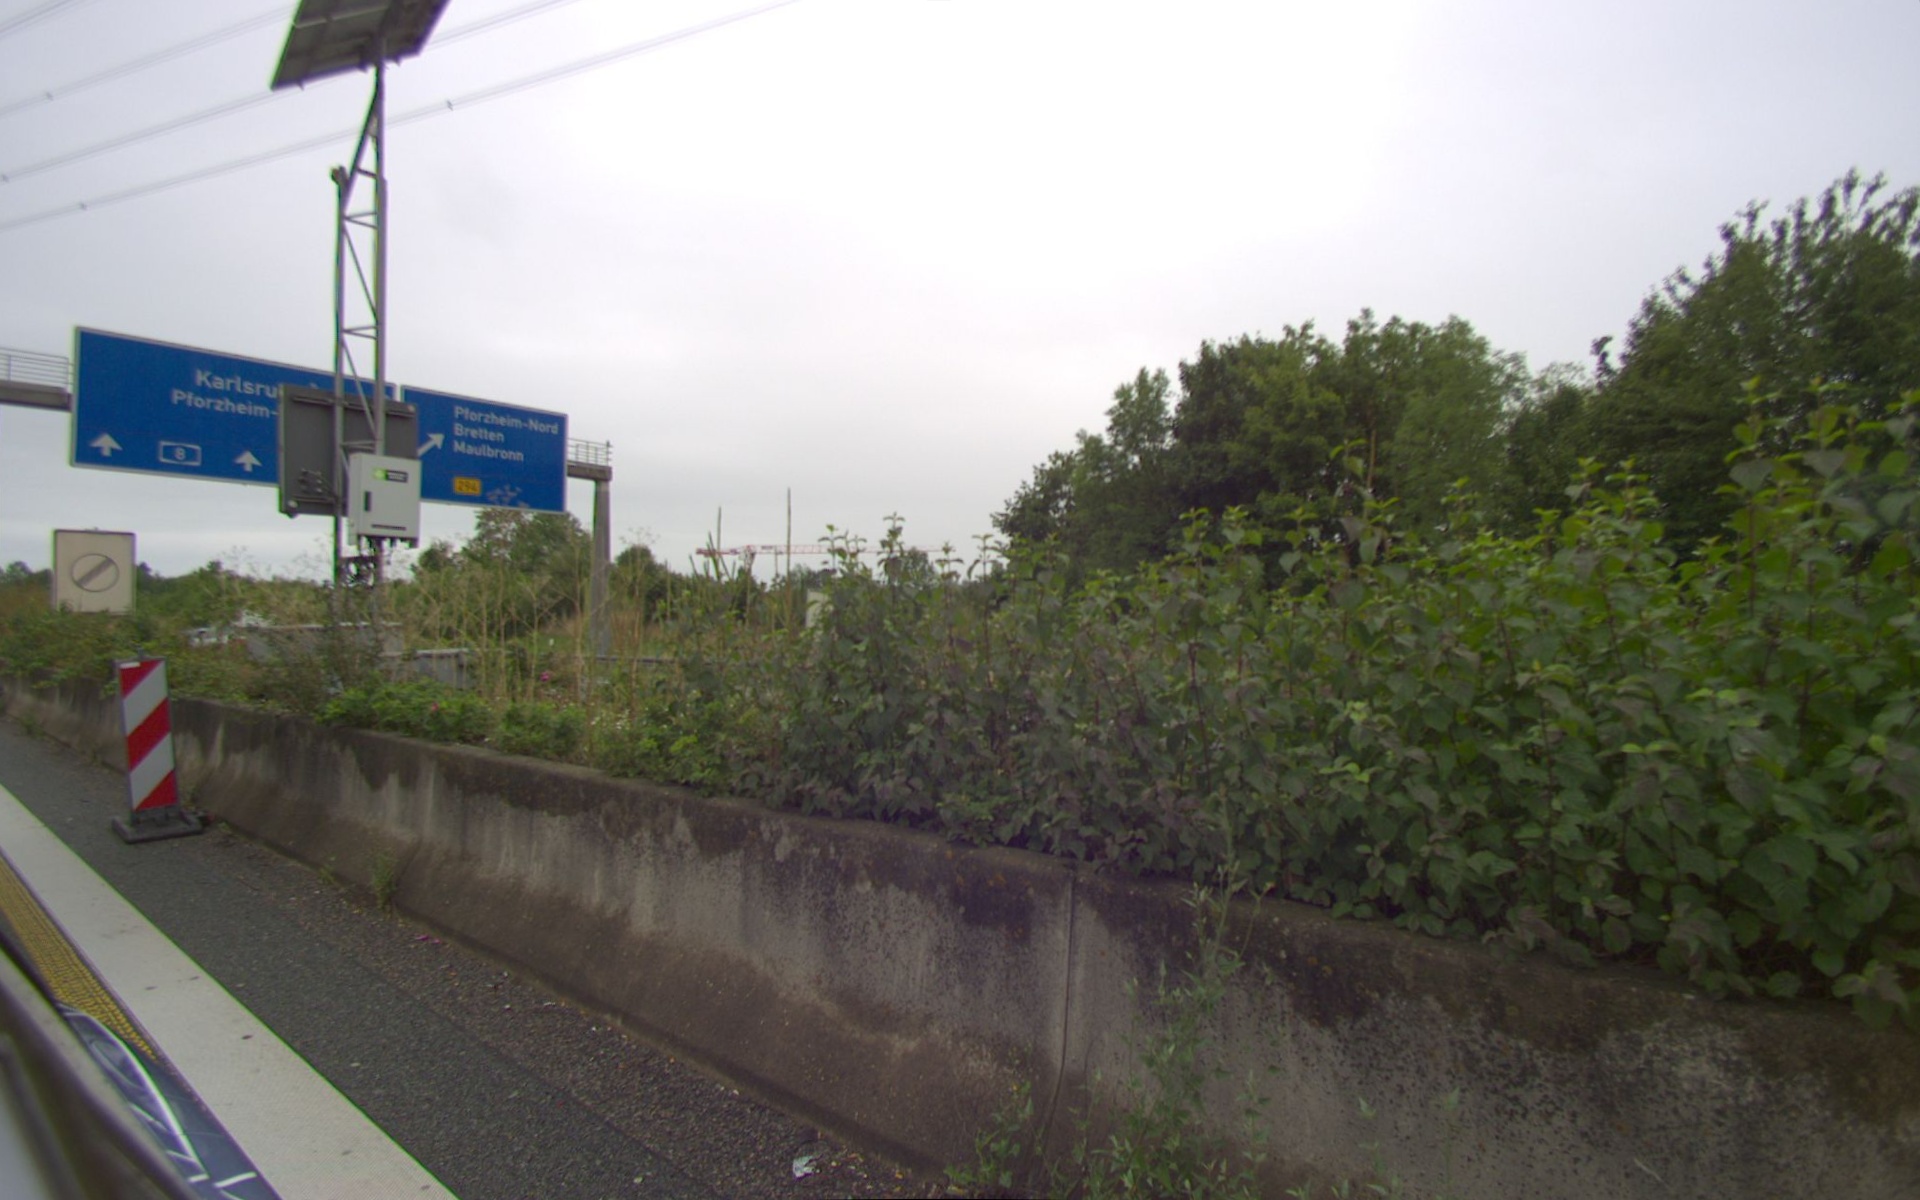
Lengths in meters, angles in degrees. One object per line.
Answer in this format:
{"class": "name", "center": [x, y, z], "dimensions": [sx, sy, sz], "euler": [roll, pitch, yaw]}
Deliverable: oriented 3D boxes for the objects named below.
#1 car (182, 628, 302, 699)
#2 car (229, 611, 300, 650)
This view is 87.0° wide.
{"class": "car", "center": [-21.191, 1.797, 29.826], "dimensions": [3.998, 1.945, 1.973], "euler": [-2, -3, 41]}
{"class": "car", "center": [-37.708, 1.633, 54.832], "dimensions": [5.057, 2.029, 1.973], "euler": [-1, -1, 41]}
